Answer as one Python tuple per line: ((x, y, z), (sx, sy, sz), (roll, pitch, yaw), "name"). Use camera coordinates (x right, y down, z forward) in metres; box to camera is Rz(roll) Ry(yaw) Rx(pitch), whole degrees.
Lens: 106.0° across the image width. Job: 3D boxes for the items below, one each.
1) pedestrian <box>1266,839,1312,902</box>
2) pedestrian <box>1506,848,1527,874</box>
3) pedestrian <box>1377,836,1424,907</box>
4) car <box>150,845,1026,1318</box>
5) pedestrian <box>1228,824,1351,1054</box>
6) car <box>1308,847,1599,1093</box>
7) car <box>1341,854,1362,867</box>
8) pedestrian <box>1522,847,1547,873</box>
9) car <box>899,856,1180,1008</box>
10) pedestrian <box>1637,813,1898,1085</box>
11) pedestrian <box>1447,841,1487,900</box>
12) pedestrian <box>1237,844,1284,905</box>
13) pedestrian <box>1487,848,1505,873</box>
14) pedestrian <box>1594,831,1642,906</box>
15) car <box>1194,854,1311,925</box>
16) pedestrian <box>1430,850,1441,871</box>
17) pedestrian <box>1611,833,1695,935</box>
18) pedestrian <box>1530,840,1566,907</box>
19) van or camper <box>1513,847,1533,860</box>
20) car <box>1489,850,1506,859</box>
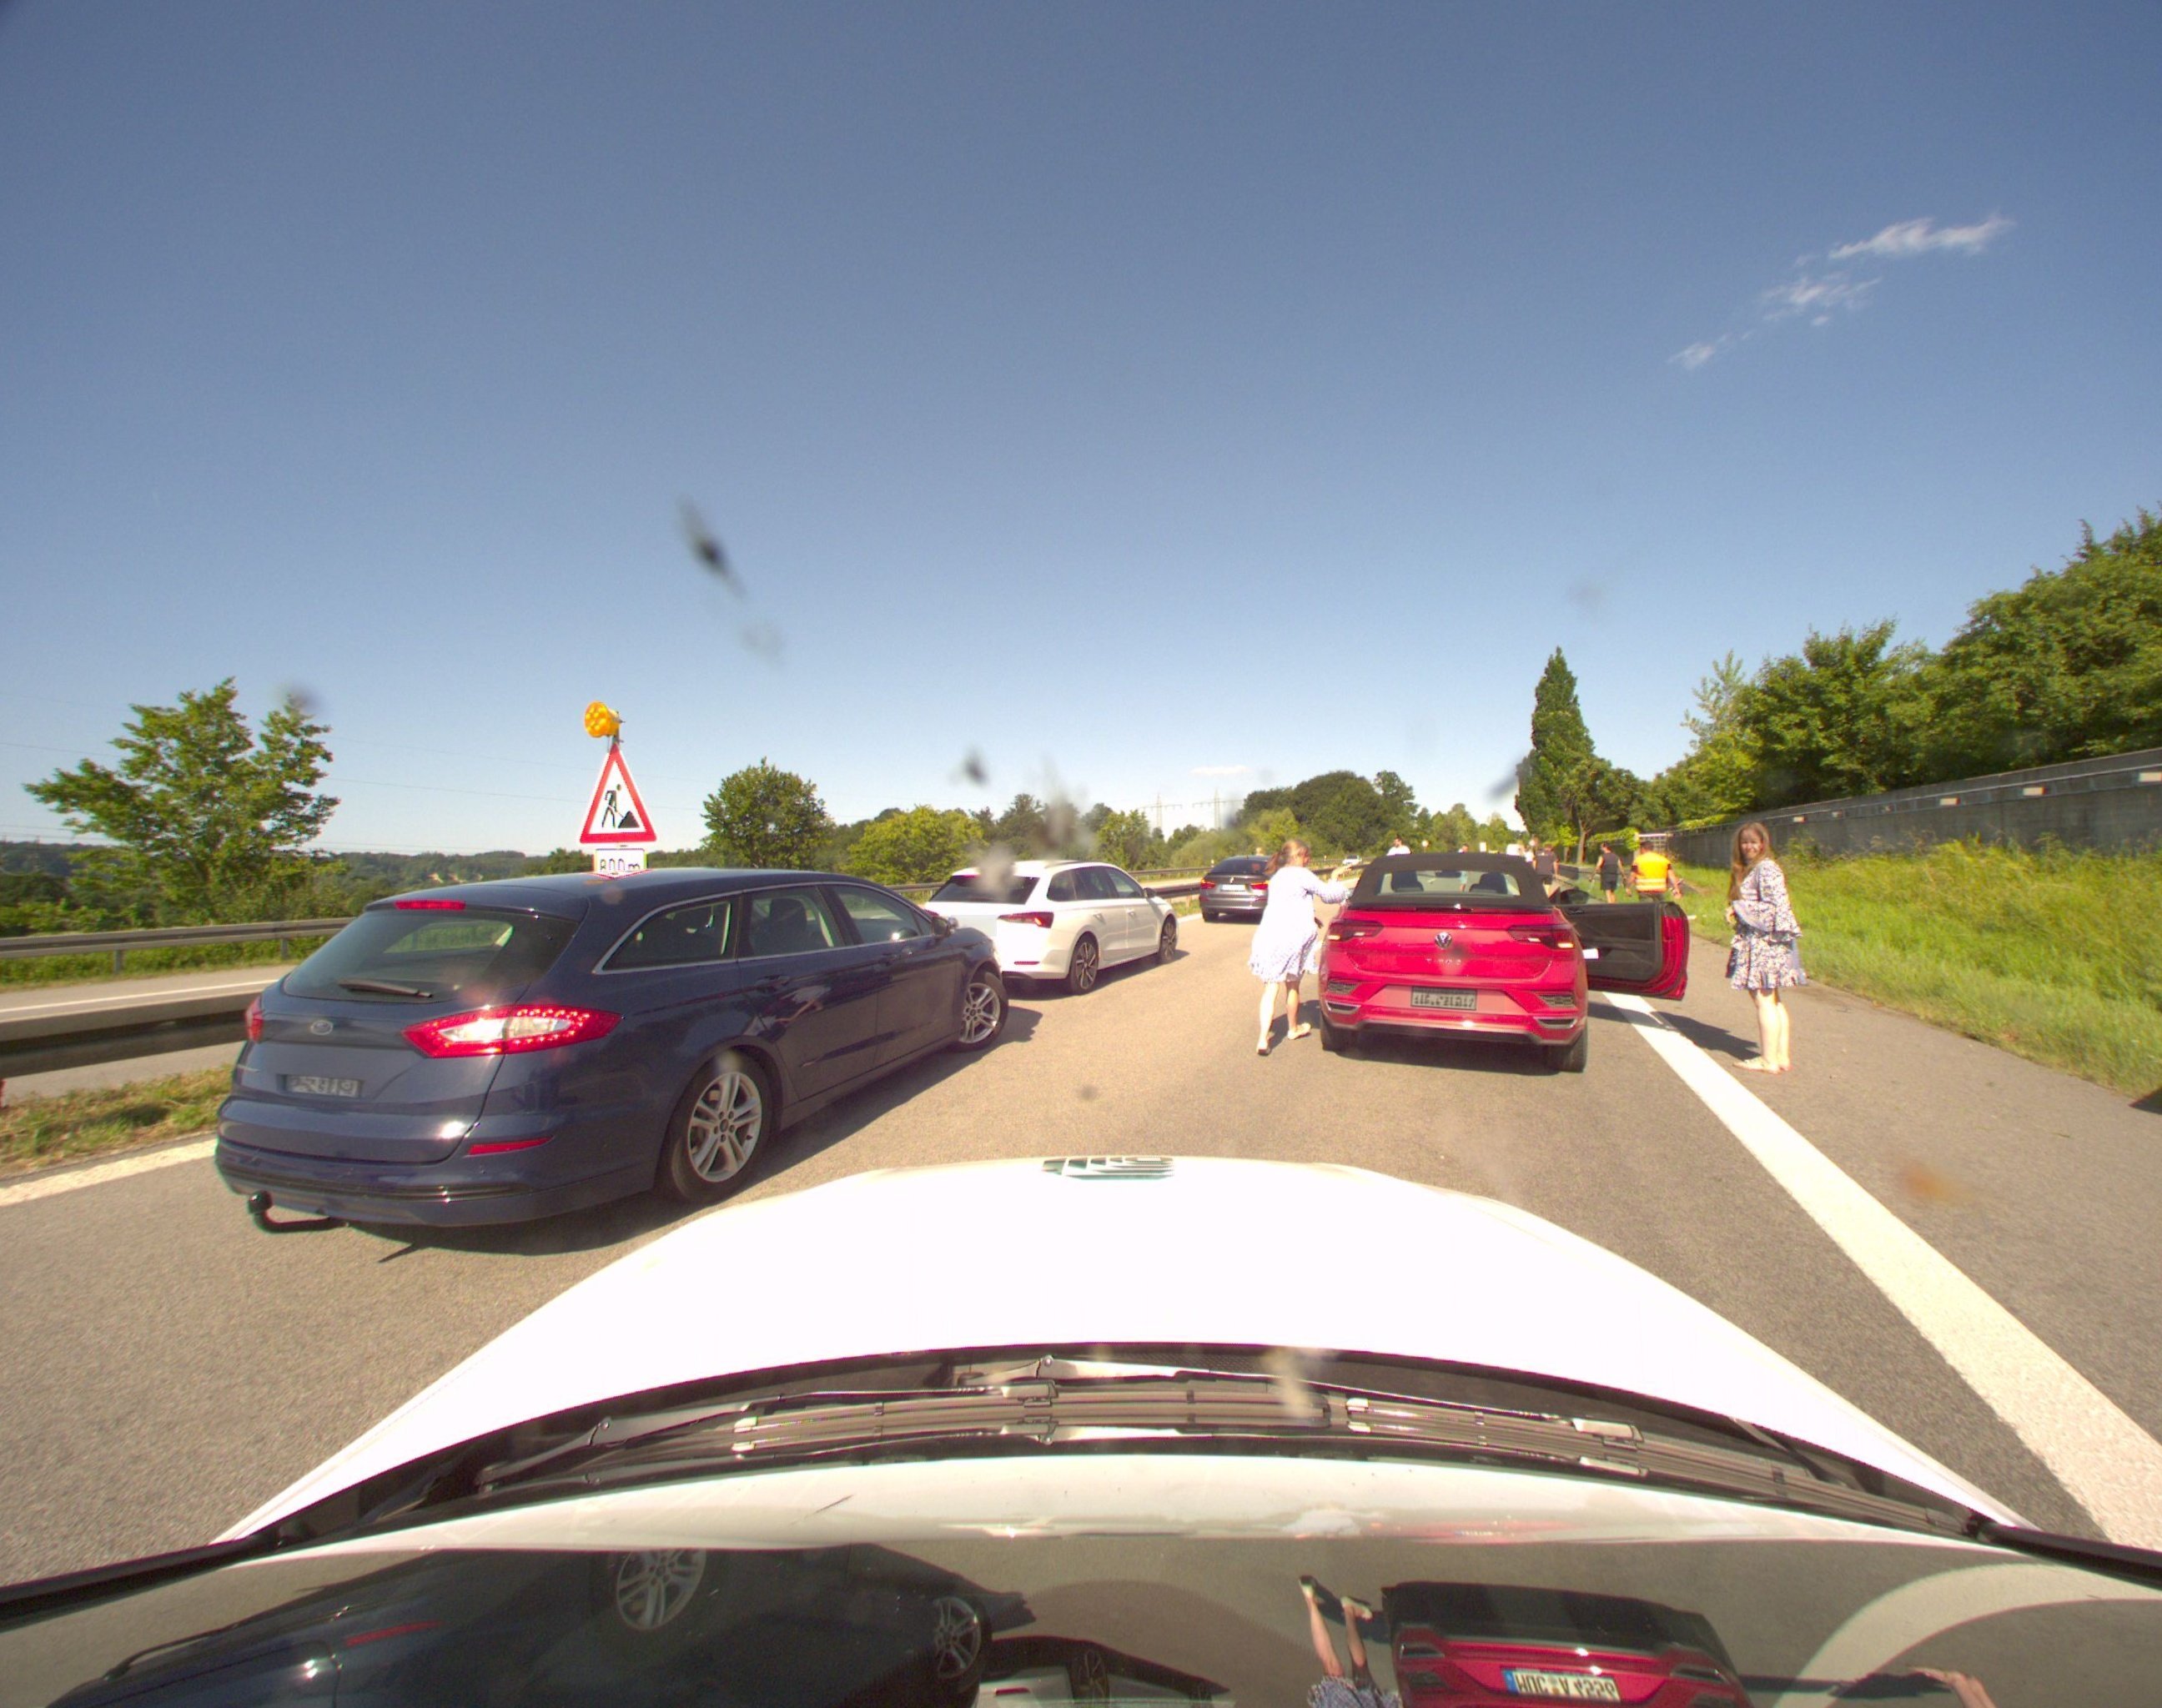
((6.445, 0.514, 25.191), (1.055, 1.883, 1.100), (-2, -1, 30), "pedestrian")
((28.700, 0.451, 53.694), (1.103, 1.689, 0.979), (0, -1, 34), "pedestrian")
((8.947, 0.475, 22.779), (1.095, 1.912, 1.264), (-2, -1, 25), "pedestrian")
((-1.997, 0.741, 4.984), (1.774, 1.493, 4.513), (-2, -1, 17), "car")
((1.624, 0.630, 6.402), (0.833, 1.683, 0.746), (-2, -1, 13), "pedestrian")
((3.273, 0.697, 7.208), (1.716, 1.487, 4.235), (0, 0, 26), "car")
((32.123, 0.786, 96.695), (1.679, 1.426, 4.331), (0, 0, 27), "car")
((29.083, 0.387, 52.265), (1.011, 1.689, 0.992), (0, 0, -21), "pedestrian")
((-0.248, 0.767, 10.164), (1.679, 1.441, 4.235), (0, 0, 26), "car")
((4.704, 0.609, 5.700), (1.115, 1.695, 0.897), (-2, -1, 21), "pedestrian")
((12.018, 0.505, 25.375), (1.078, 1.788, 1.114), (0, 0, 23), "pedestrian")
((5.310, 0.605, 24.088), (1.031, 1.763, 1.125), (-2, -1, 28), "pedestrian")
((28.461, 0.458, 55.840), (1.046, 1.689, 1.023), (0, -1, 32), "pedestrian")
((12.585, 0.329, 19.100), (0.886, 1.725, 0.759), (0, -1, 30), "pedestrian")
((4.116, 0.730, 18.997), (1.679, 1.426, 4.359), (0, 0, 26), "car")
((28.890, 0.493, 66.348), (0.784, 1.689, 0.797), (0, -1, 31), "pedestrian")
((9.771, 0.492, 13.974), (0.949, 1.654, 1.286), (-2, -1, 27), "pedestrian")
((12.614, 0.512, 22.031), (0.804, 1.759, 0.833), (0, -1, 27), "pedestrian")
((76.818, -0.106, 141.389), (1.975, 2.316, 4.497), (0, 0, 43), "van or camper")
((75.103, 0.122, 146.783), (1.716, 1.487, 4.236), (0, 0, 42), "car")
